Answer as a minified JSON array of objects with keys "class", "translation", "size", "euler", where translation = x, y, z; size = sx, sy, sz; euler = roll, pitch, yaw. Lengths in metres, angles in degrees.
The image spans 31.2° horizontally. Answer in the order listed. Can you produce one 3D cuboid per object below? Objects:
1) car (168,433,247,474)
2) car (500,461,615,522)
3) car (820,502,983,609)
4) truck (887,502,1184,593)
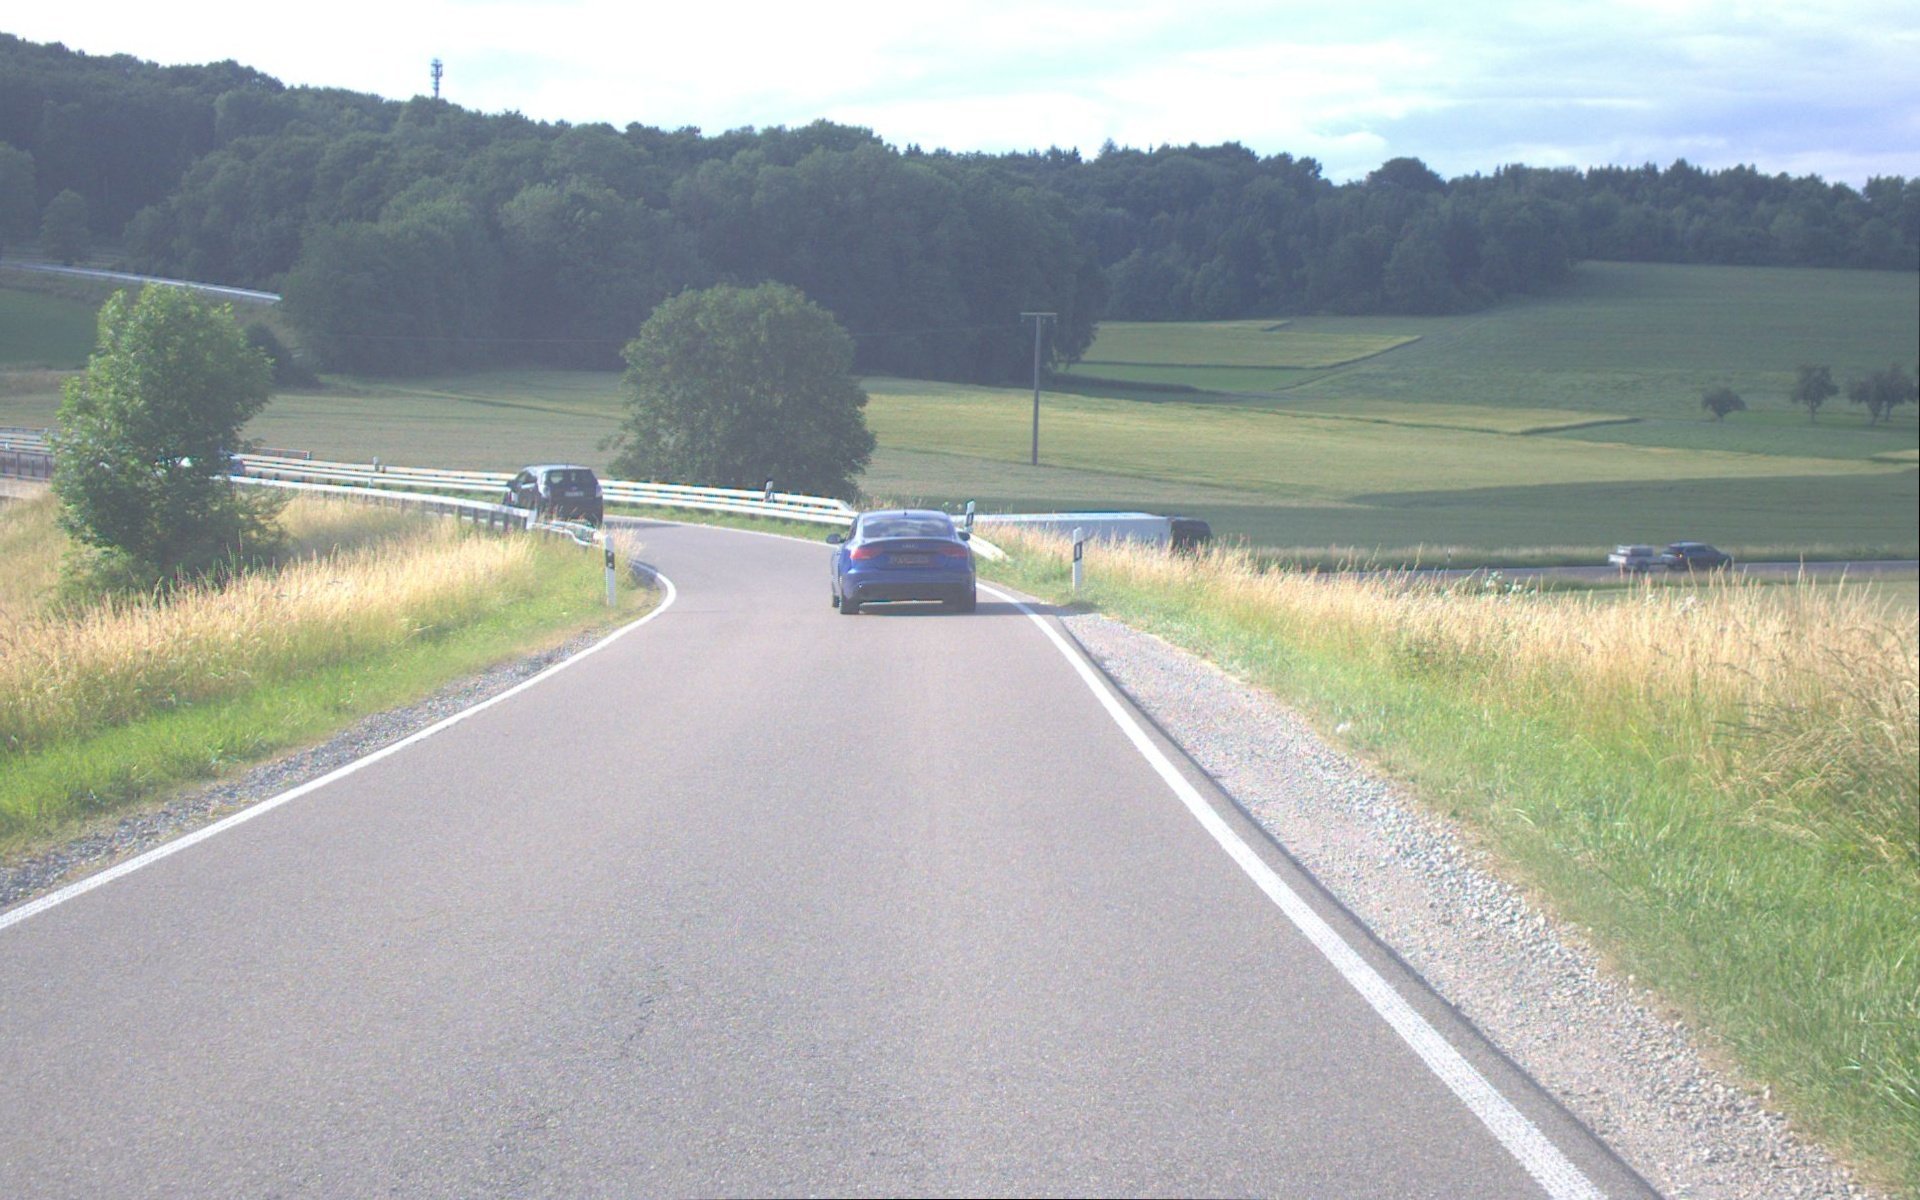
[{"class":"car","translation":[-25.970,-5.058,118.609],"size":[1.682,1.371,4.001],"euler":[-1,3,-27]},{"class":"car","translation":[-10.576,-2.850,90.084],"size":[1.861,1.563,4.001],"euler":[-1,2,-24]},{"class":"car","translation":[-0.848,-0.643,46.886],"size":[1.818,1.334,4.351],"euler":[-1,2,-6]},{"class":"truck","translation":[3.669,-2.500,161.665],"size":[14.380,3.983,4.079],"euler":[-2,1,-36]}]
